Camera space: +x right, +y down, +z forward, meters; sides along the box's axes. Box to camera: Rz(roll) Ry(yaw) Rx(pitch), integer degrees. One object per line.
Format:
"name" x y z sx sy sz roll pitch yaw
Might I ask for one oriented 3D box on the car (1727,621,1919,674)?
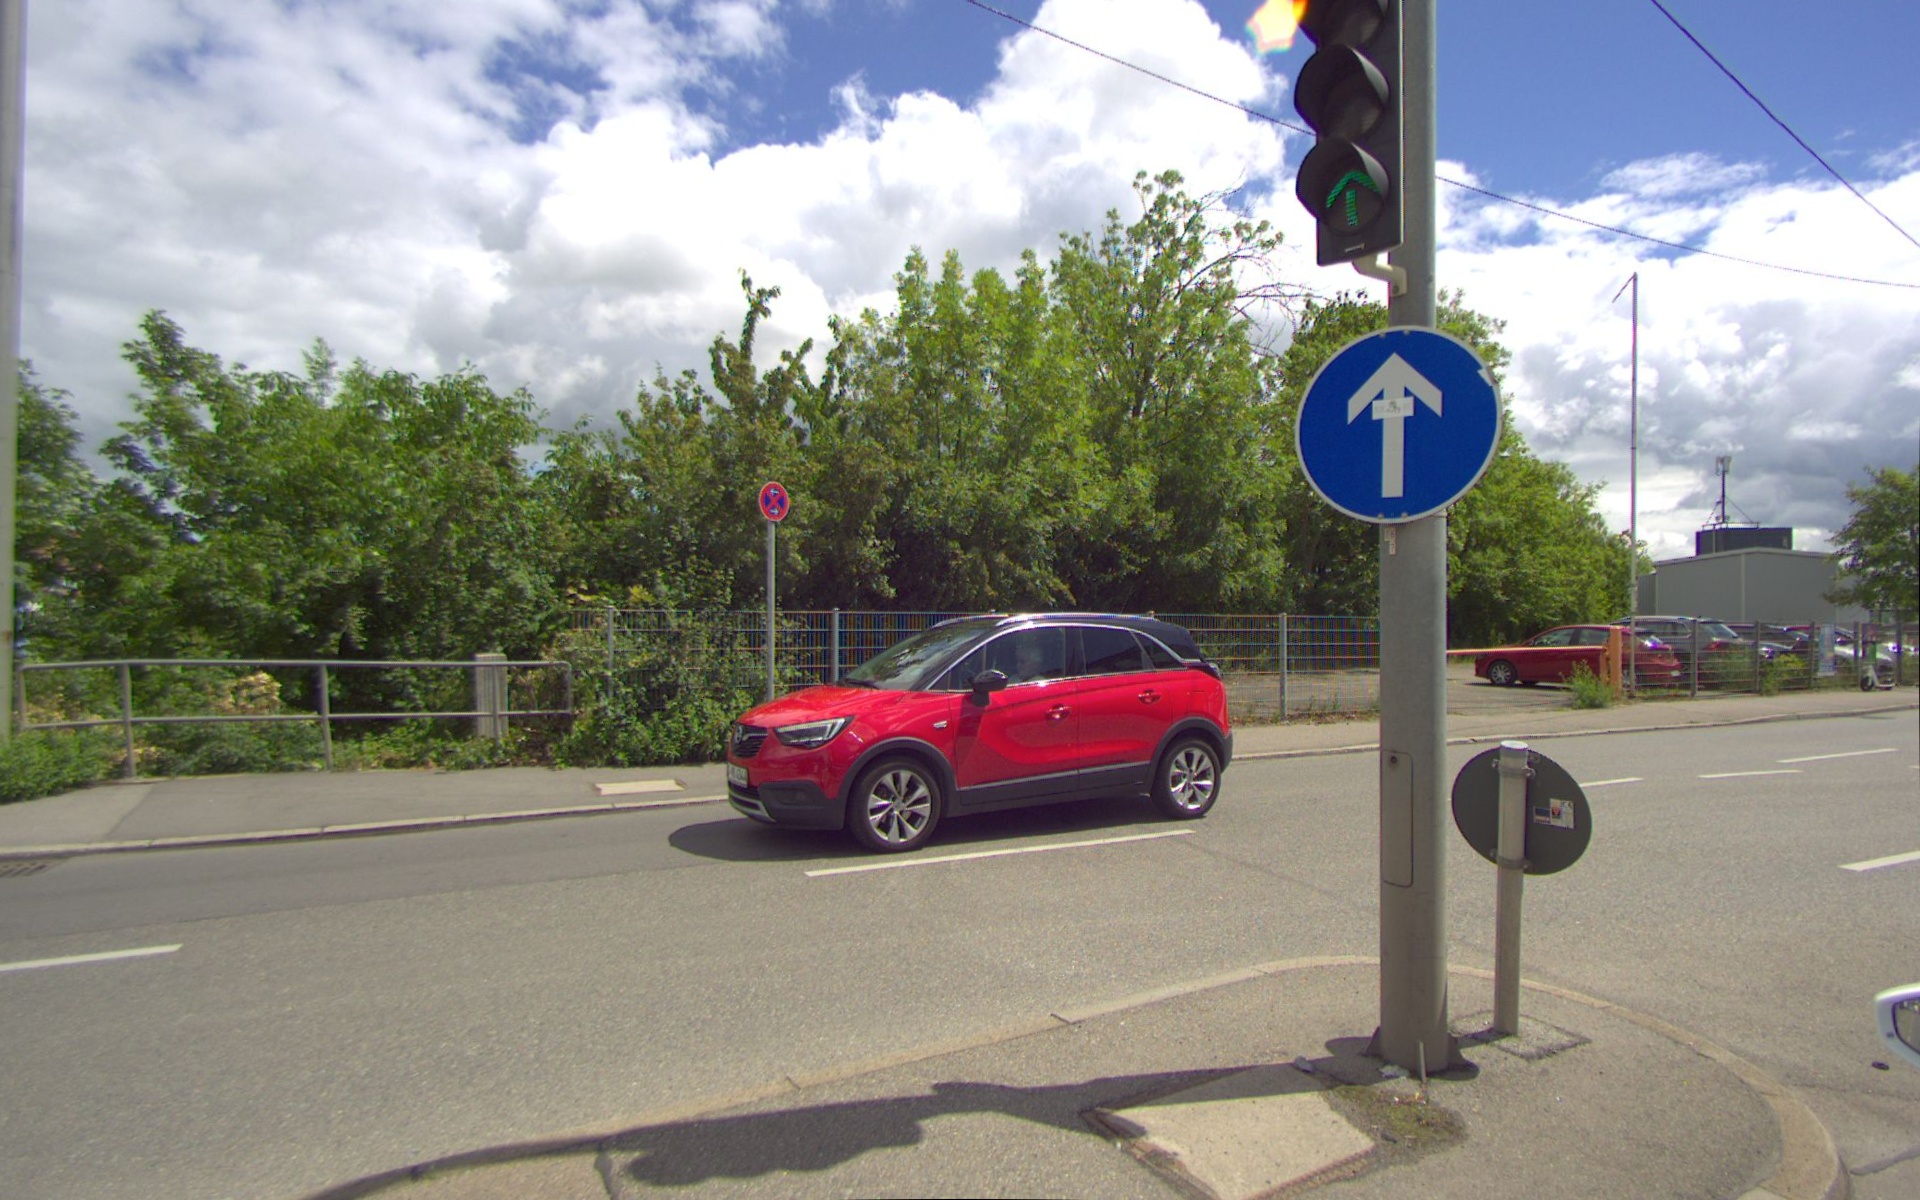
"car" 25.988 1.370 30.141 2.000 1.437 4.293 1 -1 -29

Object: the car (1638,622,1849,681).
"car" 20.944 1.328 27.014 1.979 1.437 4.079 1 -2 -33

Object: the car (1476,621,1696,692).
"car" 14.012 1.206 22.648 1.886 1.437 3.822 1 -2 -39

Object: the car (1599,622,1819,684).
"car" 18.986 1.292 25.645 1.977 1.437 4.082 1 -1 -31

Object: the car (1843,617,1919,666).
"car" 40.713 1.776 42.882 2.122 2.040 4.245 2 -2 -37

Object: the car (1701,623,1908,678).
"car" 23.608 1.359 28.246 1.893 1.437 4.084 1 -1 -30

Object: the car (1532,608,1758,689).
"car" 16.329 1.112 24.129 1.980 1.757 4.077 1 -2 -34

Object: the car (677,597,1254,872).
"car" 0.092 0.861 7.819 4.104 1.620 1.922 1 -3 -30

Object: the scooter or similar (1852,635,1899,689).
"scooter or similar" 21.427 1.433 23.500 1.111 1.227 0.422 1 1 -26
